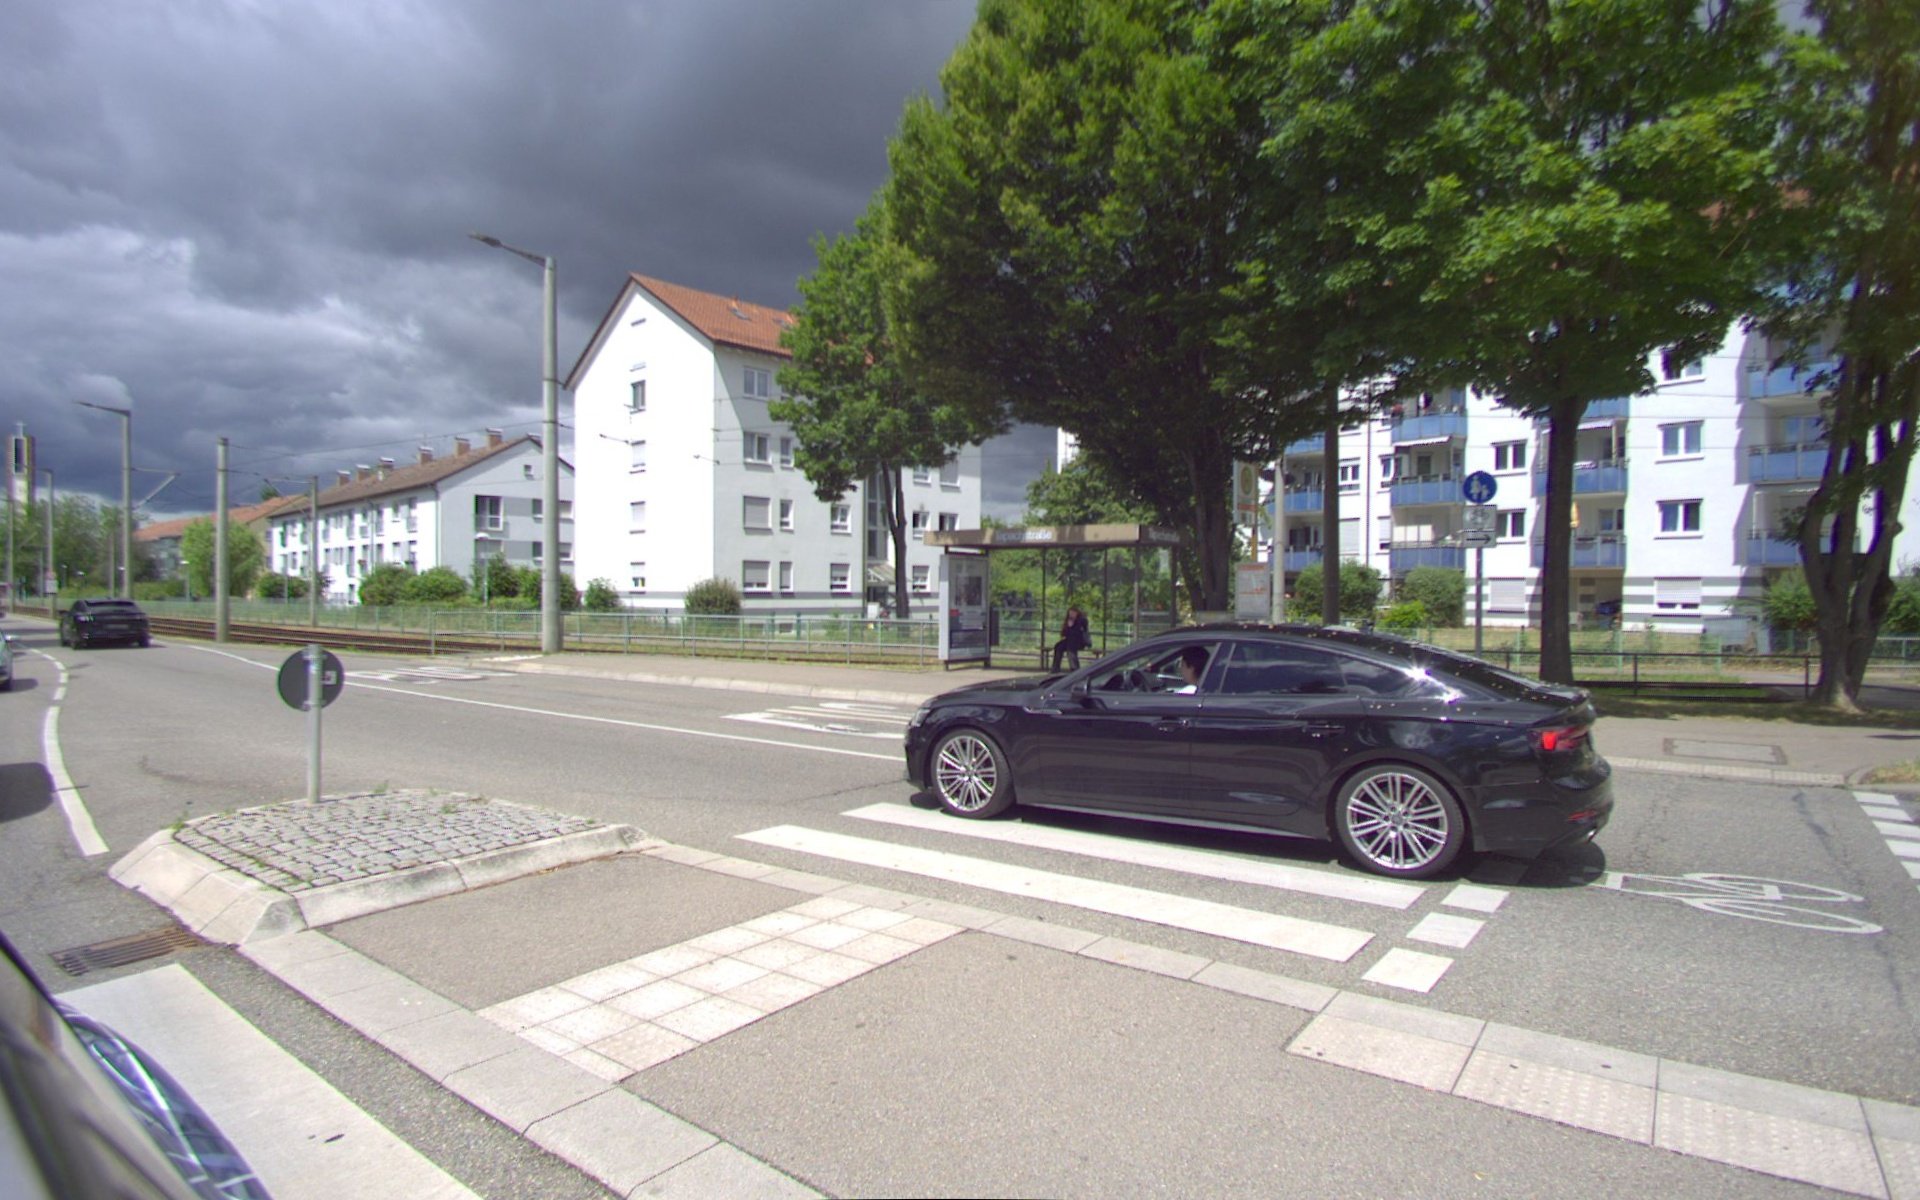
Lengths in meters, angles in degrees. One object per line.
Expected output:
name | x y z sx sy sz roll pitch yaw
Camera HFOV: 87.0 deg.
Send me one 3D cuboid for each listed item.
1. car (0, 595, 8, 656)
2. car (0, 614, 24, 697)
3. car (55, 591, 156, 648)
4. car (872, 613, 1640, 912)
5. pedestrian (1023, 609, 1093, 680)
car | -27.629 0.670 27.653 3.998 1.619 1.973 0 -1 41
car | -18.721 0.985 18.871 1.739 1.408 4.003 1 -1 -44
car | -27.247 0.582 32.225 4.526 1.537 1.971 3 2 43
car | 1.790 0.814 6.882 4.602 1.394 1.804 0 -1 32
pedestrian | 1.682 0.744 17.361 0.910 1.144 0.790 0 1 39
